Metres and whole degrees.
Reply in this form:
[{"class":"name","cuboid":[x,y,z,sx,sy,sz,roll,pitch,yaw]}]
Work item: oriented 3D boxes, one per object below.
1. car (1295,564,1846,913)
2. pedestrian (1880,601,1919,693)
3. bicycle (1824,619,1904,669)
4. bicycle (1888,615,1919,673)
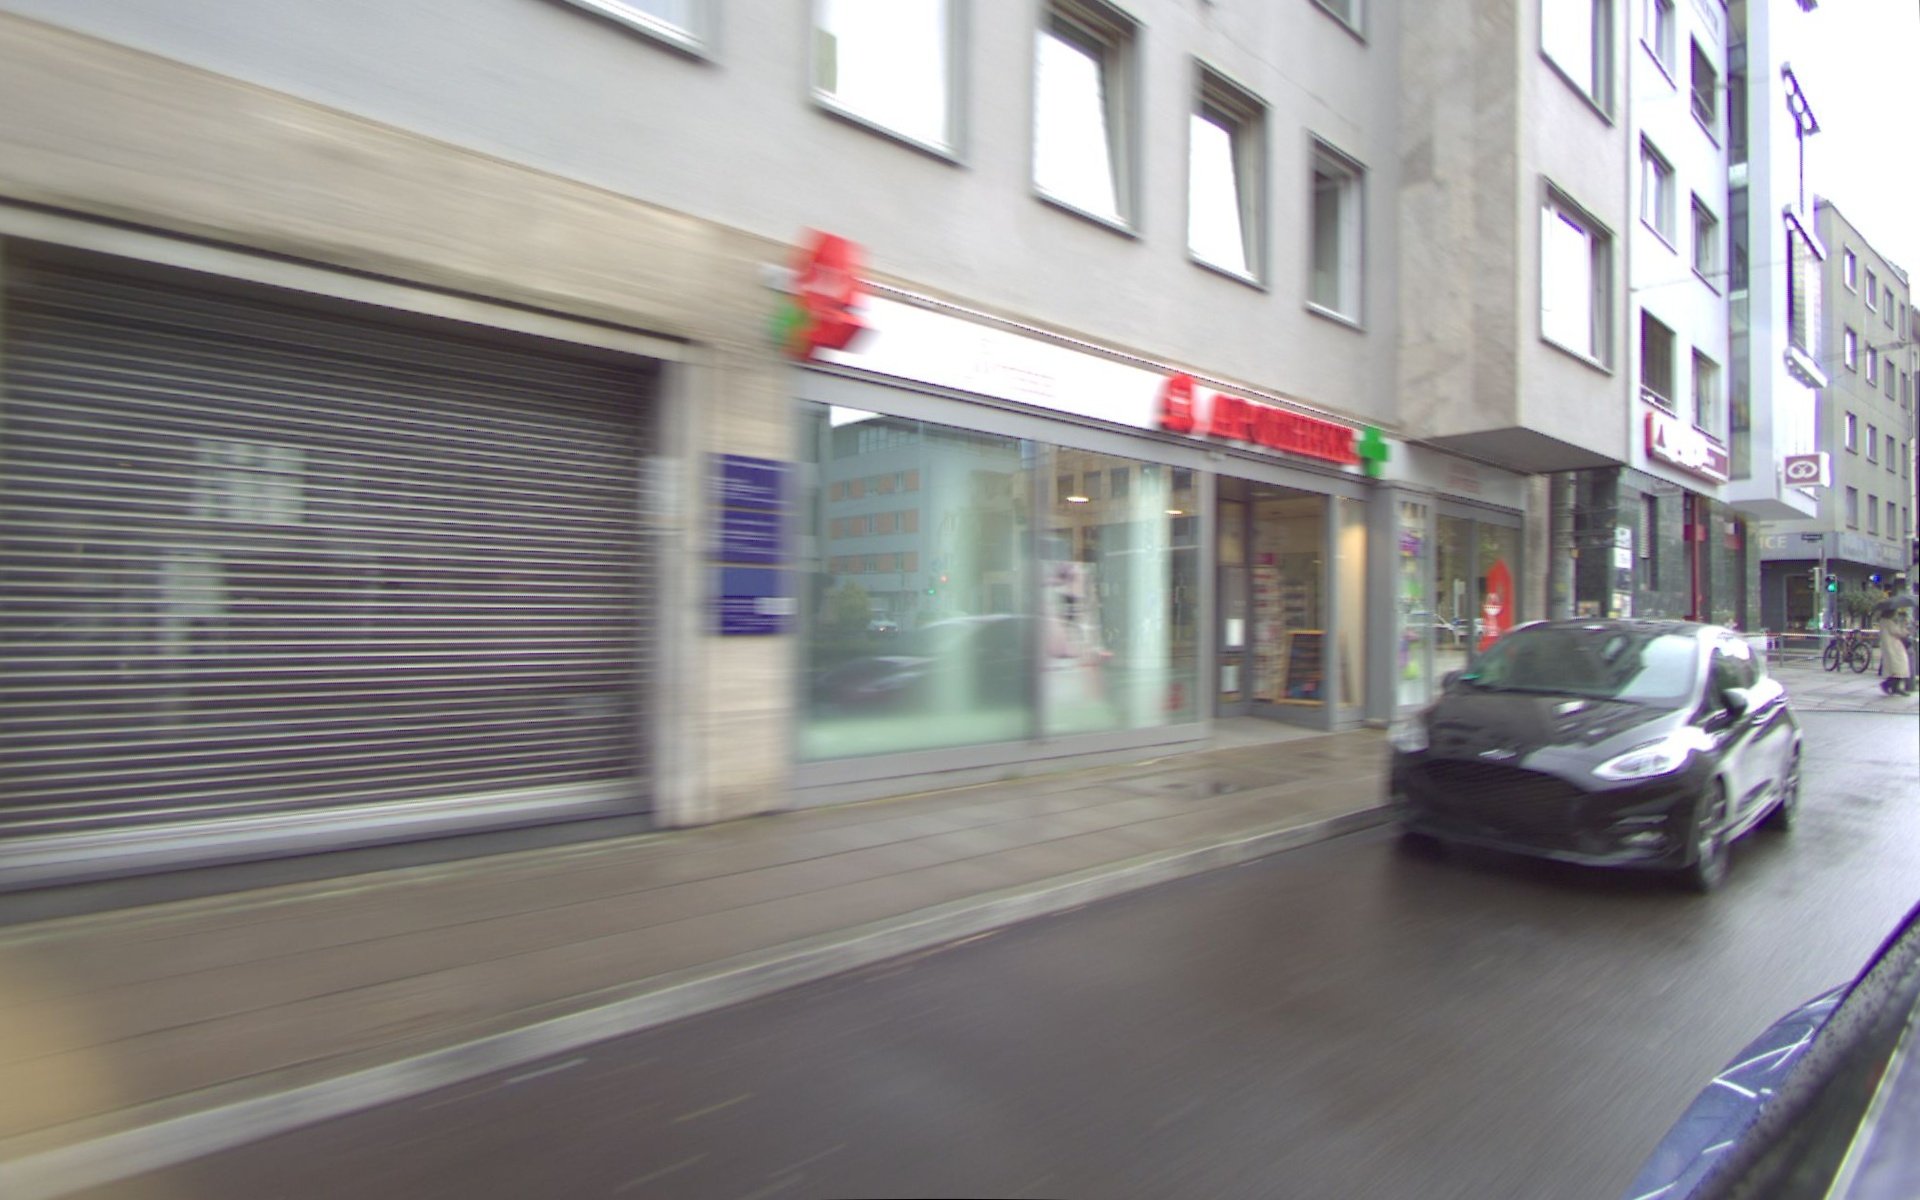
[{"class":"car","cuboid":[4.289,0.636,6.835,4.196,1.614,1.997,0,0,-41]},{"class":"pedestrian","cuboid":[17.003,0.827,18.075,0.655,1.602,0.772,0,-1,27]},{"class":"bicycle","cuboid":[22.452,1.066,25.173,0.569,1.172,1.949,0,-1,12]},{"class":"bicycle","cuboid":[21.695,0.977,22.835,0.493,1.275,1.940,-1,-1,24]}]
